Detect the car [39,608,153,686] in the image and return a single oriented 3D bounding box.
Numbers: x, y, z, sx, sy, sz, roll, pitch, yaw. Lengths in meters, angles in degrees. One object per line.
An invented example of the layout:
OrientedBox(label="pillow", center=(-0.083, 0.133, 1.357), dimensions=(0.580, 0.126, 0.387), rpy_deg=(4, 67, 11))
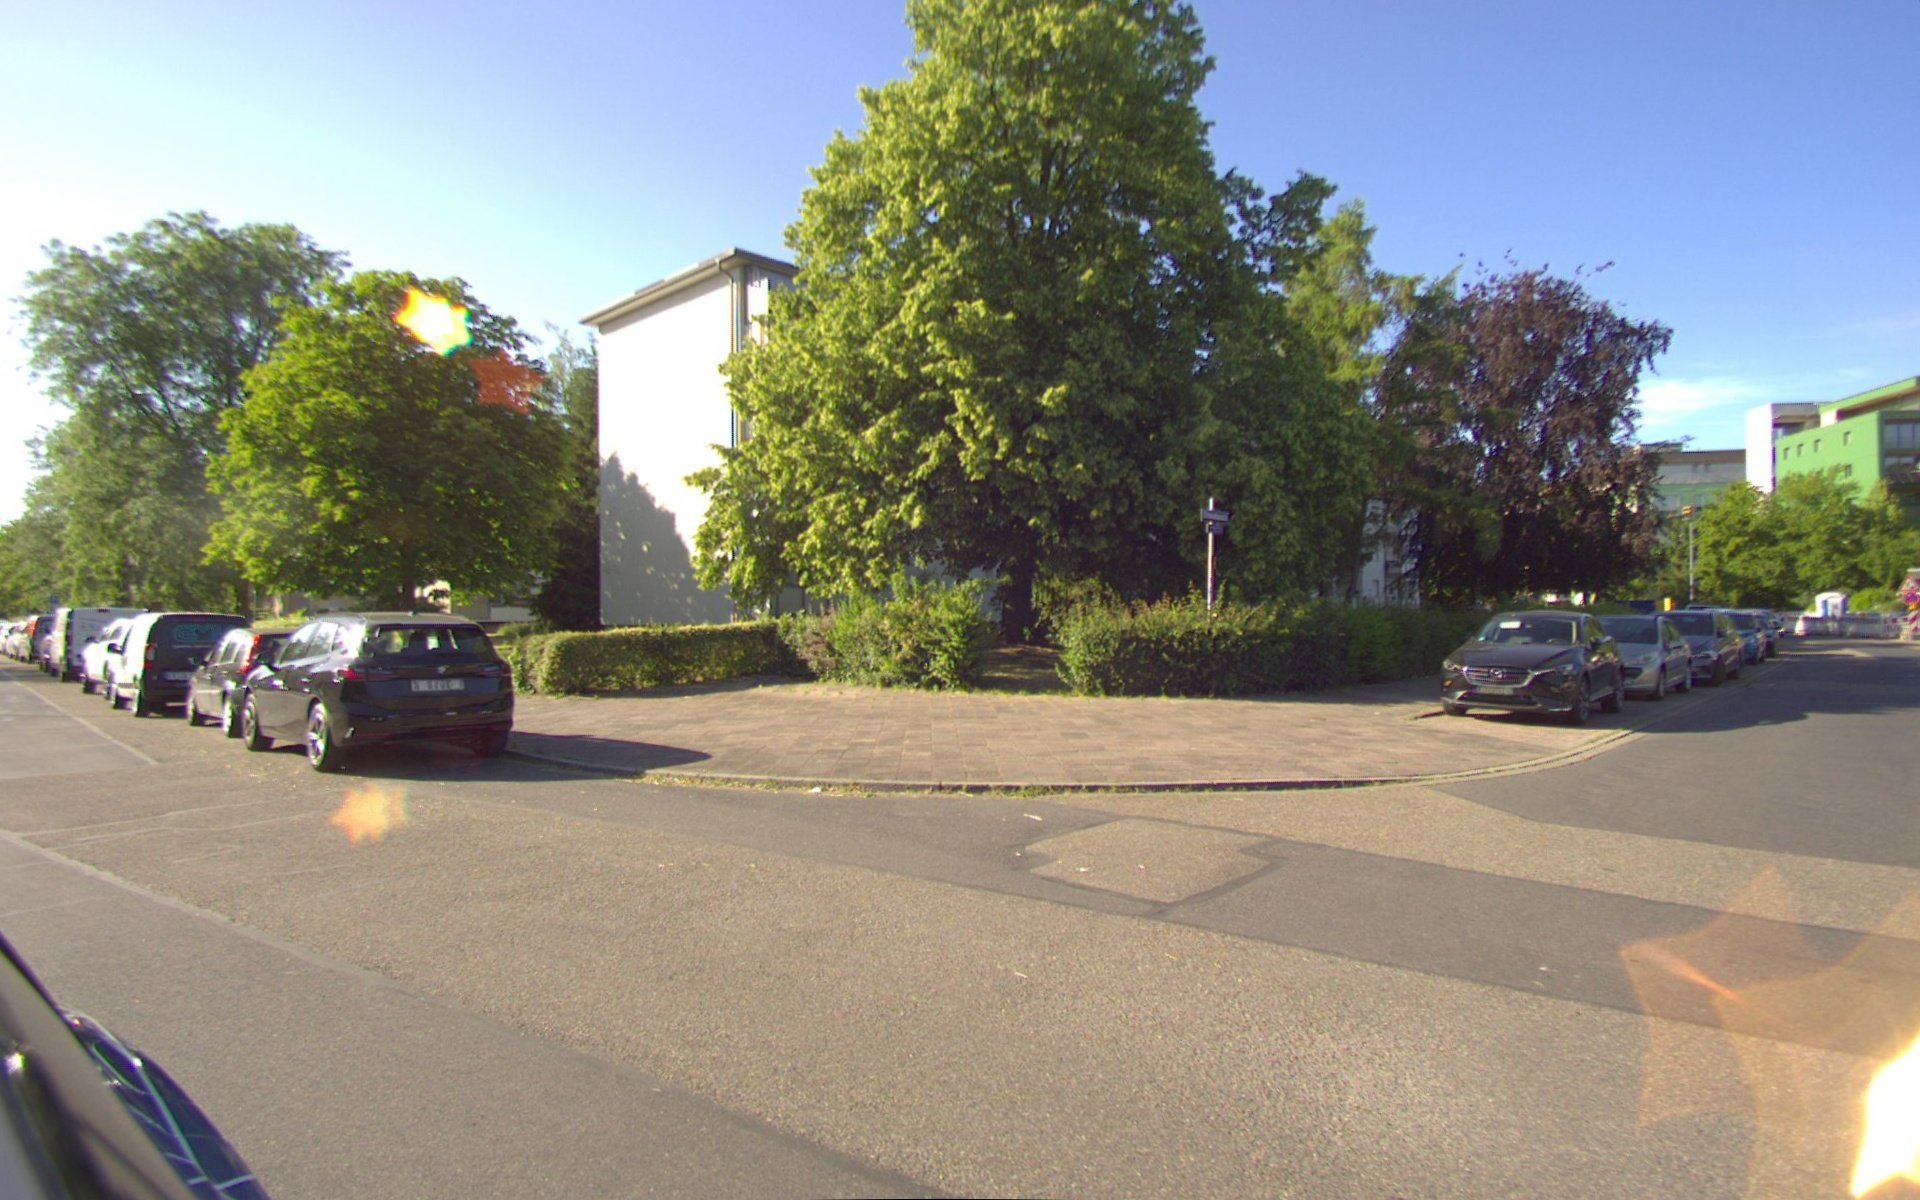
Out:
OrientedBox(label="car", center=(-23.724, 1.266, 27.729), dimensions=(4.512, 1.956, 1.883), rpy_deg=(-2, -4, 44))

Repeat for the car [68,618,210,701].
OrientedBox(label="car", center=(-17.975, 1.262, 22.093), dimensions=(4.168, 1.652, 1.709), rpy_deg=(-2, -3, 42))

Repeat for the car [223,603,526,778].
OrientedBox(label="car", center=(-6.703, 0.884, 11.362), dimensions=(4.424, 1.586, 1.760), rpy_deg=(-2, -2, 43))

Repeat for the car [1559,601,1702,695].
OrientedBox(label="car", center=(12.543, 0.841, 18.837), dimensions=(1.745, 1.554, 3.874), rpy_deg=(-1, -2, 41))

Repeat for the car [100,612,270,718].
OrientedBox(label="car", center=(-13.946, 1.118, 18.145), dimensions=(3.648, 1.695, 1.793), rpy_deg=(-2, -4, 43))

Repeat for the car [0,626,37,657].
OrientedBox(label="car", center=(-51.209, 2.226, 54.707), dimensions=(3.556, 1.641, 1.610), rpy_deg=(-2, -3, 43))

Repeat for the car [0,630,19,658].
OrientedBox(label="car", center=(-58.557, 2.667, 61.576), dimensions=(3.556, 1.641, 1.610), rpy_deg=(-2, -3, 43))

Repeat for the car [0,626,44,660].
OrientedBox(label="car", center=(-46.956, 2.120, 50.409), dimensions=(3.556, 1.641, 1.610), rpy_deg=(-2, -3, 43))

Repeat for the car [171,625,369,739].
OrientedBox(label="car", center=(-10.138, 1.119, 14.771), dimensions=(3.654, 1.448, 1.605), rpy_deg=(-2, -4, 43))

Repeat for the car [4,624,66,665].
OrientedBox(label="car", center=(-38.807, 1.845, 42.433), dimensions=(3.556, 1.641, 1.610), rpy_deg=(-2, -3, 43))

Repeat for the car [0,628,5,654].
OrientedBox(label="car", center=(-62.895, 2.636, 65.270), dimensions=(3.556, 1.641, 1.610), rpy_deg=(-2, -3, 43))

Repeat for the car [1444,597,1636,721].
OrientedBox(label="car", center=(8.533, 0.781, 14.741), dimensions=(1.745, 1.554, 3.874), rpy_deg=(-1, -2, 41))

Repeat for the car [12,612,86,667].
OrientedBox(label="car", center=(-34.670, 1.511, 38.490), dimensions=(3.812, 1.968, 1.709), rpy_deg=(-2, -4, 43))

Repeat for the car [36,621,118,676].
OrientedBox(label="car", center=(-28.254, 1.523, 32.343), dimensions=(1.708, 1.652, 3.815), rpy_deg=(3, -4, -44))

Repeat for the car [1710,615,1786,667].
OrientedBox(label="car", center=(25.508, 1.279, 32.719), dimensions=(1.745, 1.554, 4.044), rpy_deg=(-1, -2, 41))

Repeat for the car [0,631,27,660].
OrientedBox(label="car", center=(-55.679, 2.632, 58.956), dimensions=(3.556, 1.641, 1.610), rpy_deg=(-2, -3, 43))

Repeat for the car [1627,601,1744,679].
OrientedBox(label="car", center=(16.009, 0.837, 22.250), dimensions=(1.745, 1.554, 4.044), rpy_deg=(-1, -2, 41))

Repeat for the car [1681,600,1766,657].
OrientedBox(label="car", center=(22.336, 0.822, 29.551), dimensions=(1.745, 1.554, 4.044), rpy_deg=(-1, -2, 41))
